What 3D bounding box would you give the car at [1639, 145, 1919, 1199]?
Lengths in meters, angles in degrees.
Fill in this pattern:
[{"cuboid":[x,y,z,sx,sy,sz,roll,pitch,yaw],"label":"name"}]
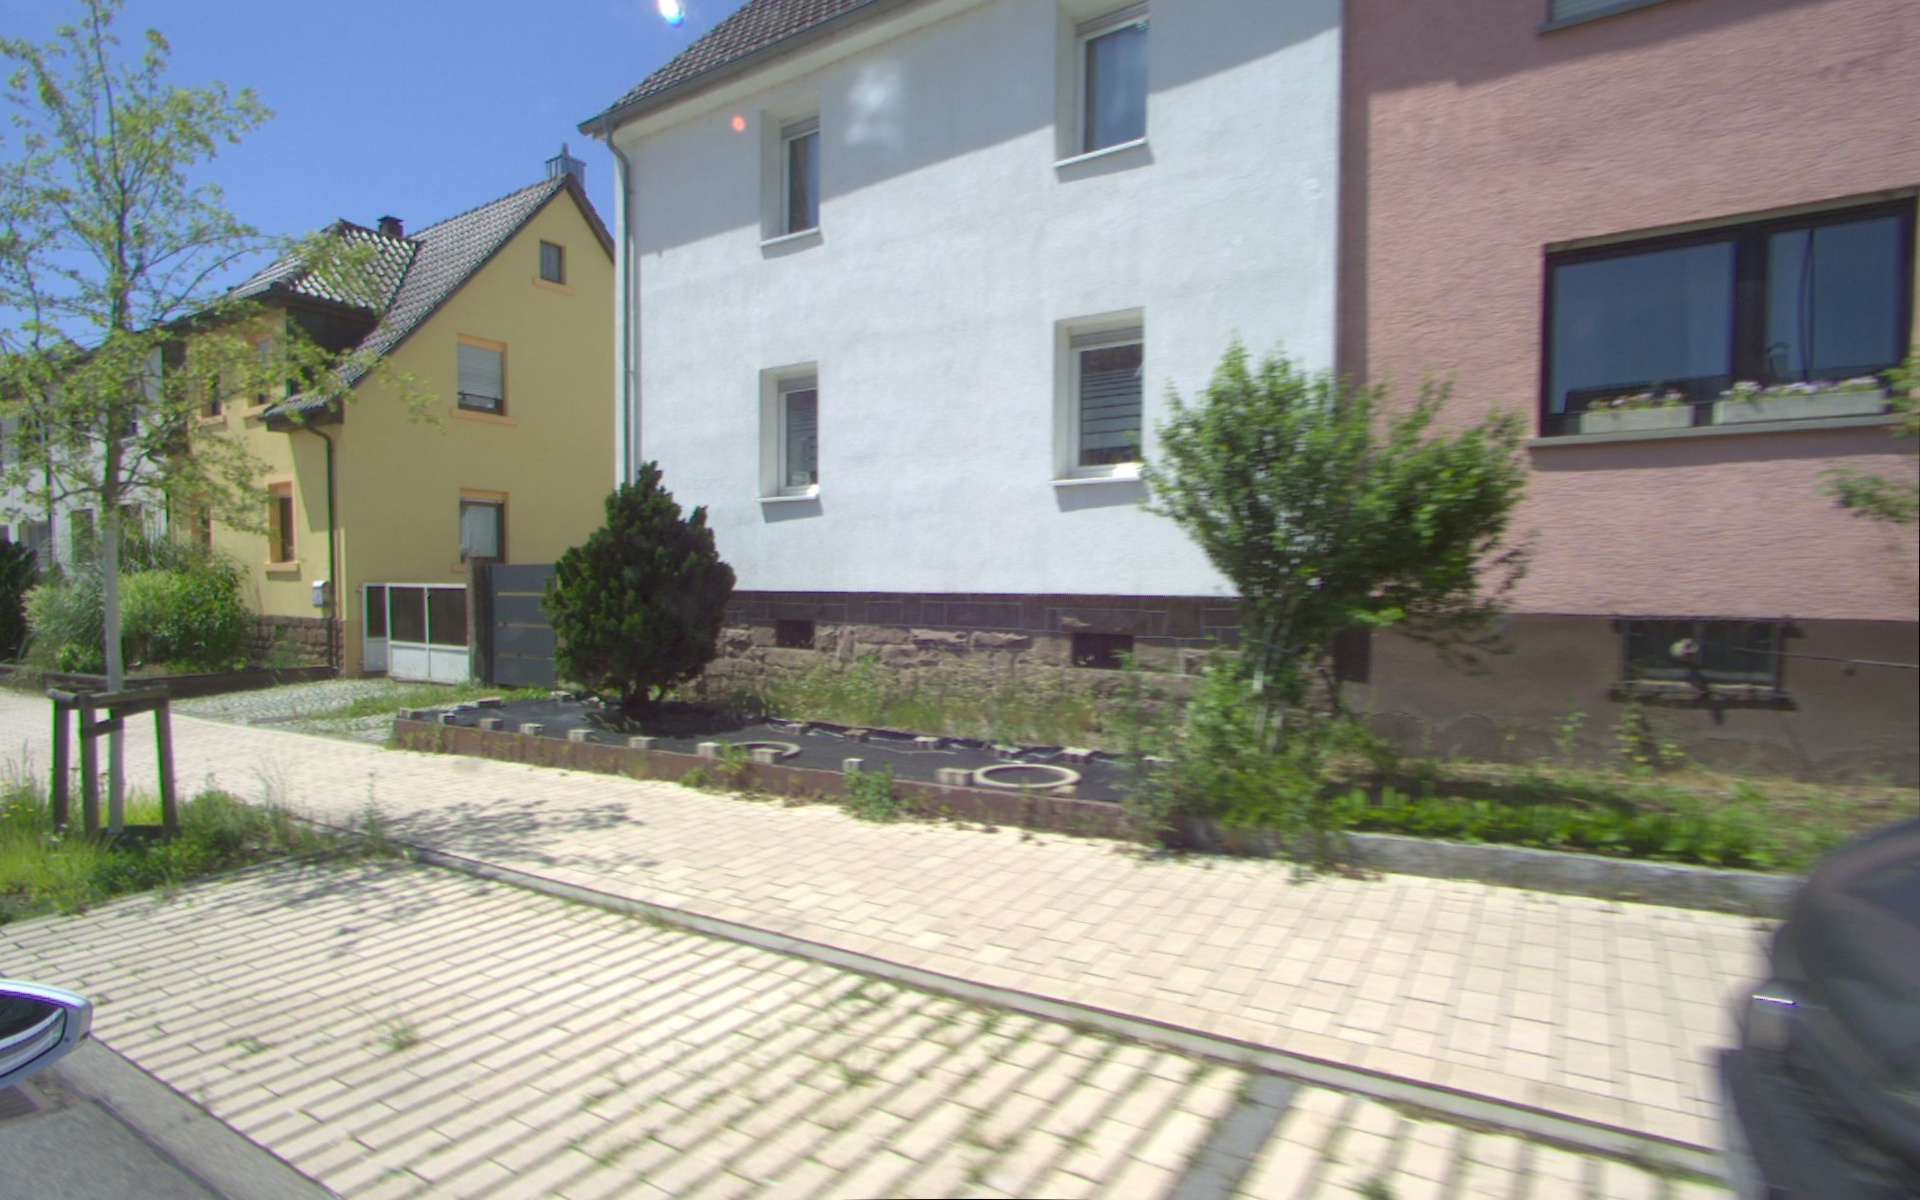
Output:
[{"cuboid":[3.237,0.481,0.586,4.603,1.867,1.851,0,1,32],"label":"car"}]
